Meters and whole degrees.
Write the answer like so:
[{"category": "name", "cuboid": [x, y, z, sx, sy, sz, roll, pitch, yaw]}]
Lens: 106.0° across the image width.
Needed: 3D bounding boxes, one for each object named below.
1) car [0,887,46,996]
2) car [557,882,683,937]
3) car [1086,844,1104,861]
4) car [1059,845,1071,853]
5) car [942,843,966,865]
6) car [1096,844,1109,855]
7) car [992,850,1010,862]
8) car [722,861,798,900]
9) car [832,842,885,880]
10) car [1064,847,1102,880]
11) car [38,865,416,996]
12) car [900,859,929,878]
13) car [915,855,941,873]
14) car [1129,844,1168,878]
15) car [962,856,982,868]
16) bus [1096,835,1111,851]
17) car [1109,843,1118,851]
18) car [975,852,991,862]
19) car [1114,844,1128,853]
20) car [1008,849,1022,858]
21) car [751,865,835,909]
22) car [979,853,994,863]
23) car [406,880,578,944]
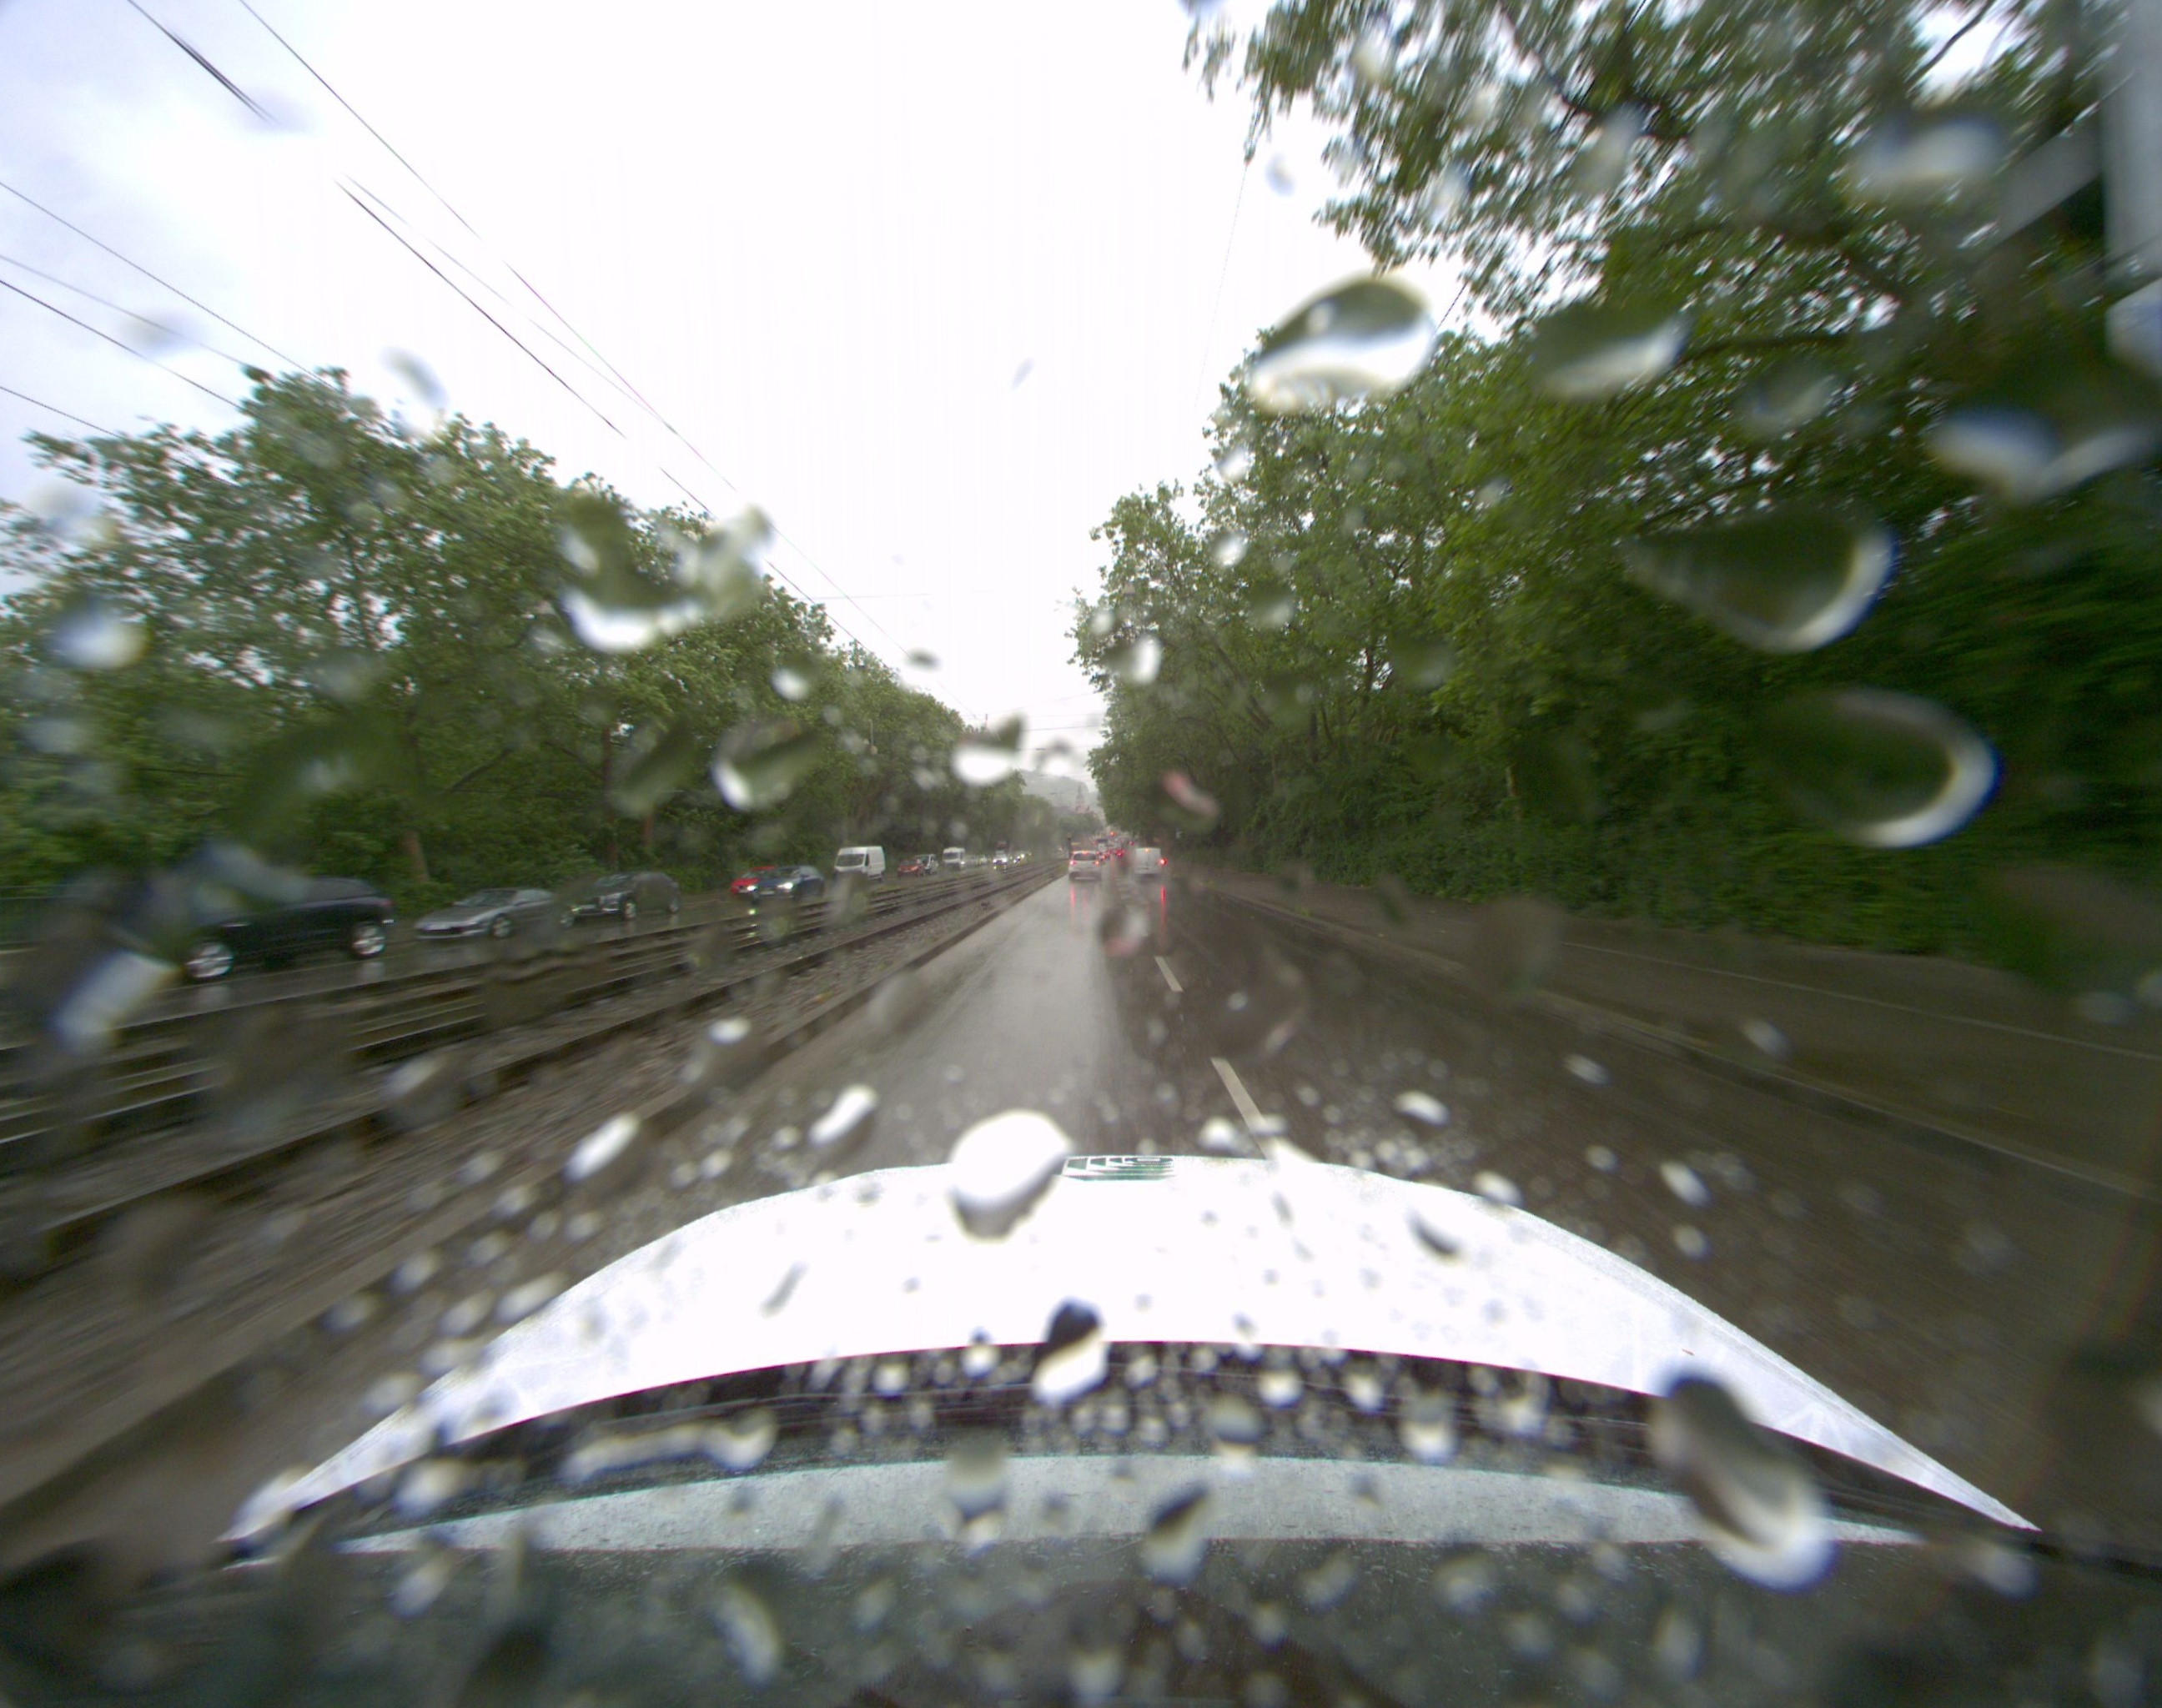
[{"category": "car", "cuboid": [-14.798, 1.286, 8.514, 1.501, 1.400, 4.893, -7, 1, 0]}, {"category": "car", "cuboid": [-14.541, 1.710, 25.983, 1.500, 1.292, 4.097, -3, 1, 2]}, {"category": "car", "cuboid": [1.669, -0.215, 95.597, 1.985, 1.826, 4.004, 0, 1, 3]}, {"category": "car", "cuboid": [-3.366, -1.052, 169.991, 1.795, 1.350, 4.272, -3, 1, 6]}, {"category": "car", "cuboid": [-13.866, -0.012, 89.243, 1.794, 2.221, 4.278, -3, 1, 1]}, {"category": "car", "cuboid": [3.516, -0.742, 134.668, 1.985, 1.826, 4.004, 0, 1, 3]}, {"category": "car", "cuboid": [-10.688, 0.285, 109.234, 1.798, 1.350, 4.265, -3, 1, 1]}, {"category": "car", "cuboid": [-14.618, 1.146, 37.323, 1.604, 1.442, 4.263, -3, 1, 1]}, {"category": "car", "cuboid": [-14.252, 0.411, 52.587, 1.736, 2.169, 5.813, -3, 1, 0]}, {"category": "car", "cuboid": [0.164, 0.486, 46.223, 1.985, 1.716, 4.004, 0, 1, 3]}, {"category": "car", "cuboid": [-14.579, 1.156, 14.443, 1.501, 1.671, 4.833, -3, 1, 0]}, {"category": "car", "cuboid": [-13.963, 1.207, 68.570, 1.500, 1.350, 4.028, -3, 1, 1]}, {"category": "car", "cuboid": [-13.935, 0.898, 74.322, 1.500, 1.350, 4.028, -3, 1, 1]}, {"category": "car", "cuboid": [3.576, 0.334, 43.876, 1.985, 1.726, 4.004, 0, 1, 3]}, {"category": "car", "cuboid": [-14.087, 1.000, 105.360, 1.798, 1.350, 4.265, -3, 1, 1]}, {"category": "bus", "cuboid": [5.541, -2.776, 199.272, 3.375, 3.836, 9.748, 0, 1, 3]}, {"category": "car", "cuboid": [7.331, -1.571, 184.564, 1.985, 1.826, 4.004, 0, 1, 3]}, {"category": "car", "cuboid": [-14.841, 0.431, 123.470, 1.798, 1.350, 4.265, -3, 1, 1]}, {"category": "car", "cuboid": [6.207, -0.827, 126.049, 1.985, 1.321, 4.004, 0, 1, 3]}, {"category": "car", "cuboid": [-10.887, -0.116, 133.893, 1.798, 1.350, 4.265, -3, 1, 1]}, {"category": "car", "cuboid": [-11.479, 1.267, 32.790, 1.500, 1.400, 4.710, -3, 1, 2]}, {"category": "car", "cuboid": [-14.888, 0.637, 128.555, 1.798, 1.350, 4.265, -3, 1, 1]}, {"category": "car", "cuboid": [-14.602, 1.376, 20.460, 1.500, 1.172, 3.714, -3, 1, 1]}]
